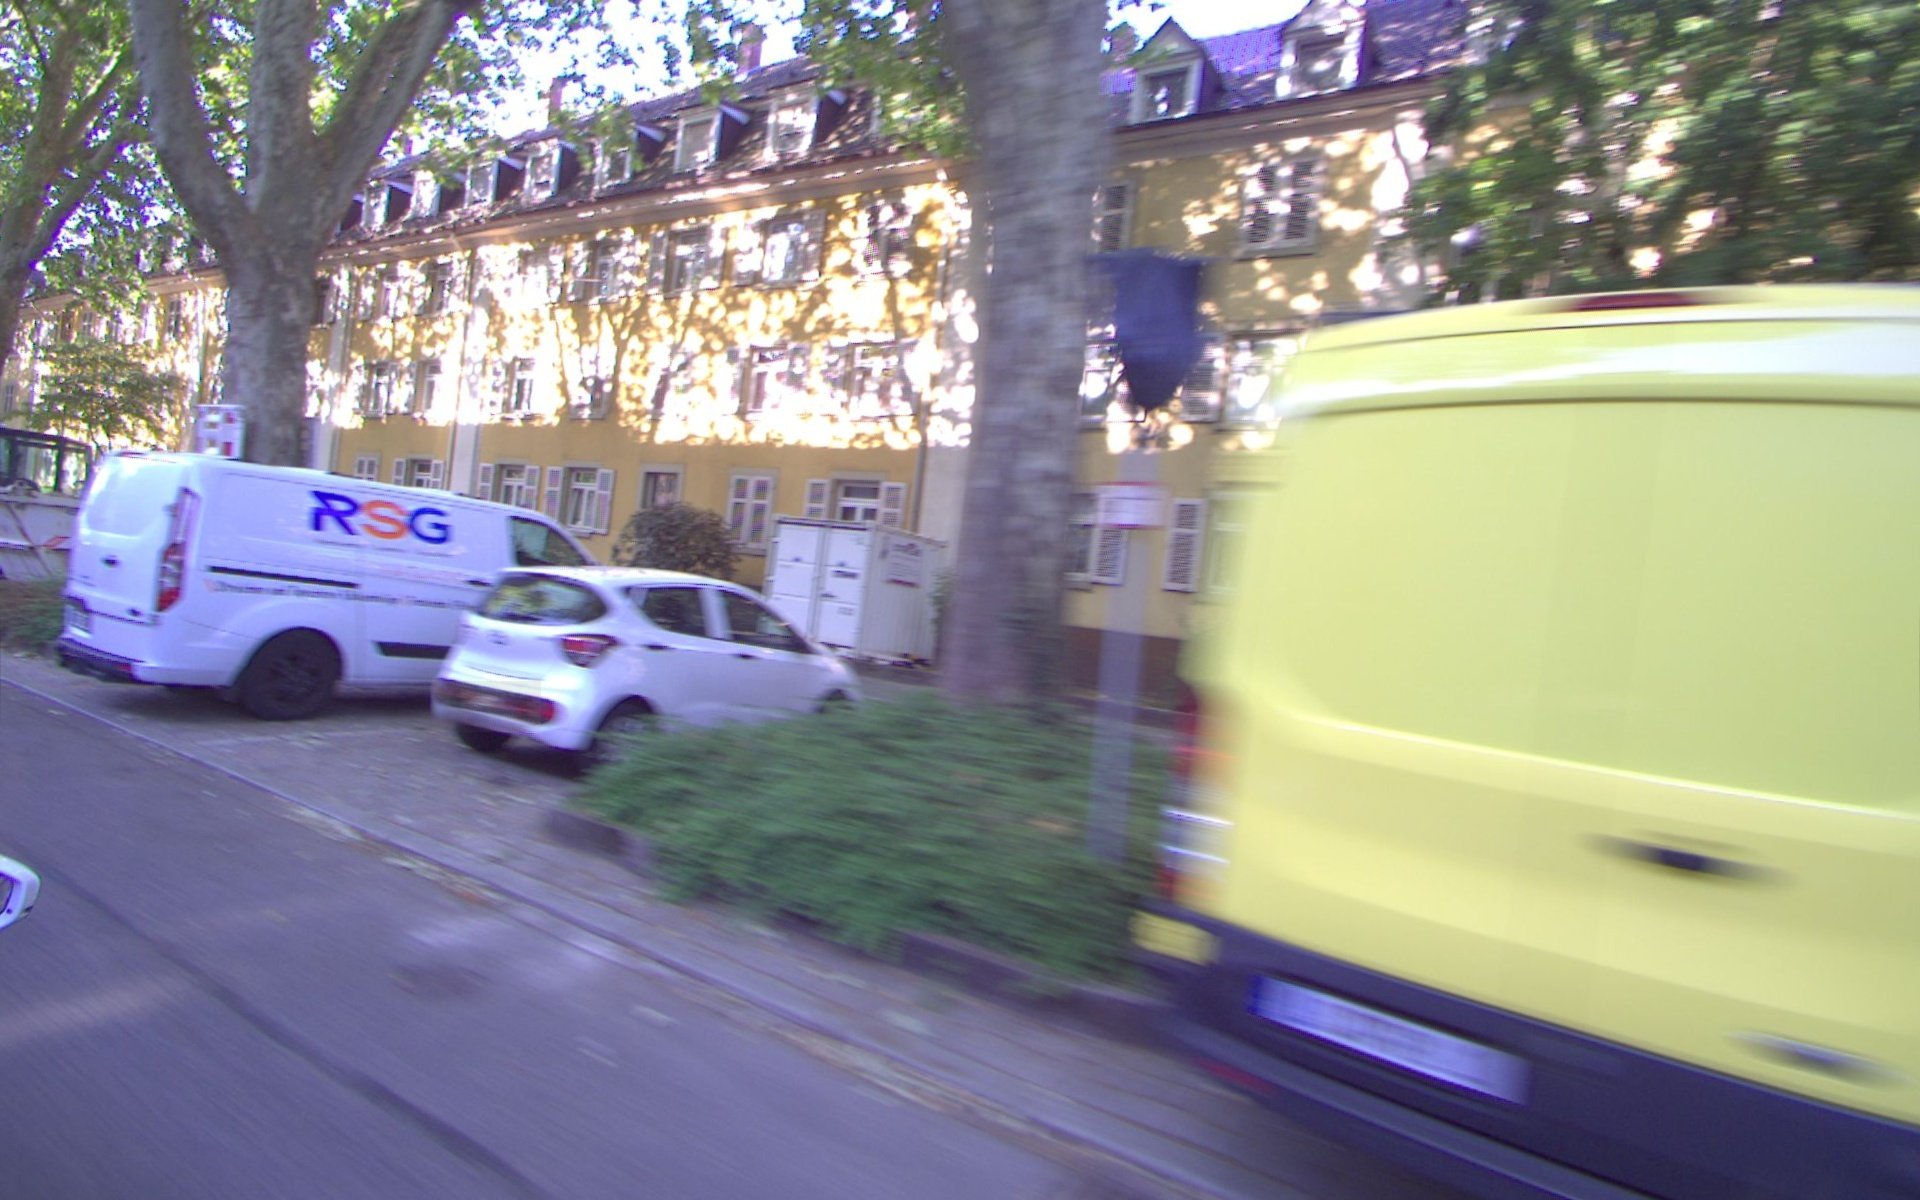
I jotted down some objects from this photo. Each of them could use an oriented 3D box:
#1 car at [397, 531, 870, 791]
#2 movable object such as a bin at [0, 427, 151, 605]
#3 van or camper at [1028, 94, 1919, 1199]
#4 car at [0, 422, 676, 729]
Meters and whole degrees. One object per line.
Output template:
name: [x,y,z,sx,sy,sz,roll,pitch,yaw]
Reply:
car: [-2.450,0.486,8.272,1.669,1.558,3.310,7,-1,30]
movable object such as a bin: [-13.528,-1.217,14.874,1.468,2.297,3.257,7,0,-25]
van or camper: [2.850,0.584,4.584,2.234,2.661,5.930,6,-1,33]
car: [-5.276,-0.086,9.328,2.029,2.038,4.841,7,0,31]
